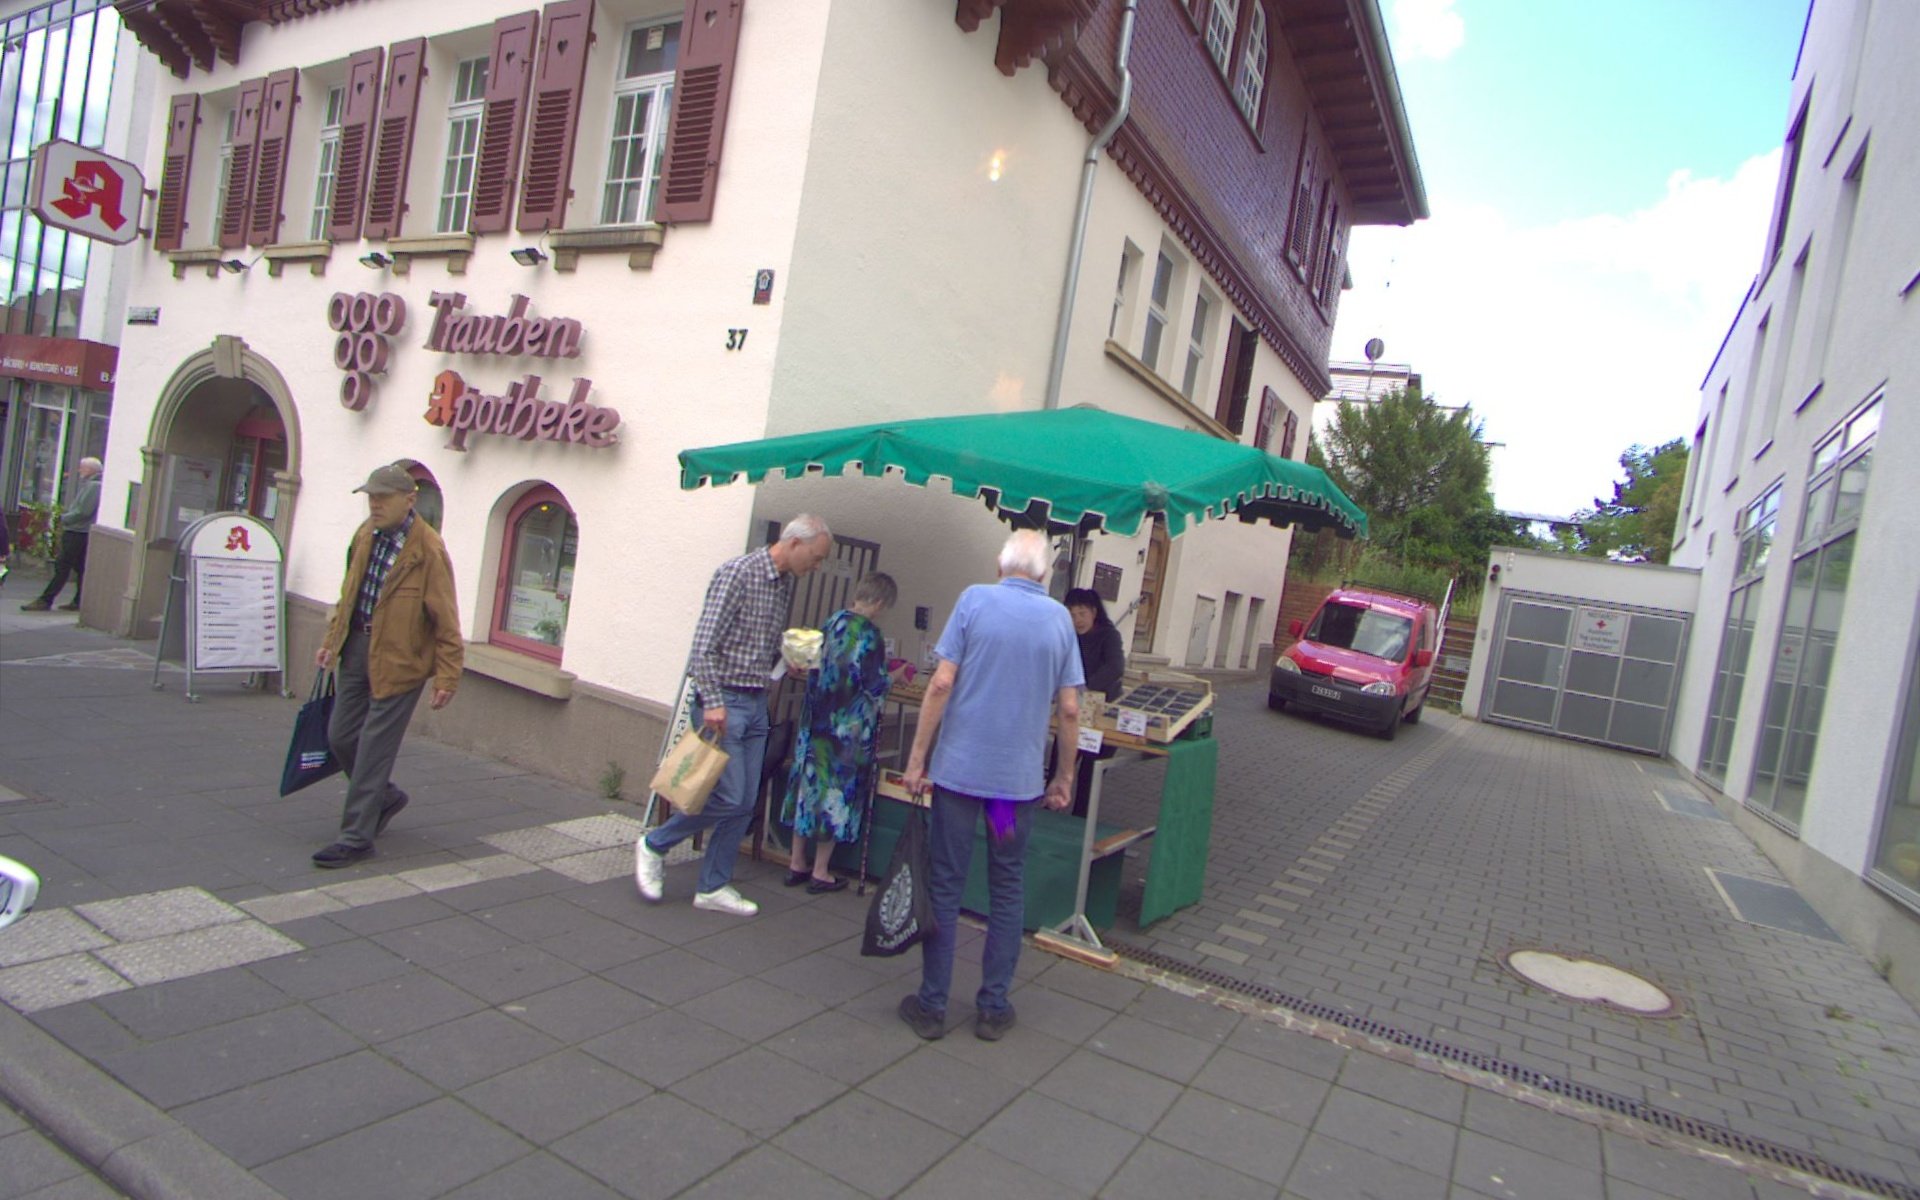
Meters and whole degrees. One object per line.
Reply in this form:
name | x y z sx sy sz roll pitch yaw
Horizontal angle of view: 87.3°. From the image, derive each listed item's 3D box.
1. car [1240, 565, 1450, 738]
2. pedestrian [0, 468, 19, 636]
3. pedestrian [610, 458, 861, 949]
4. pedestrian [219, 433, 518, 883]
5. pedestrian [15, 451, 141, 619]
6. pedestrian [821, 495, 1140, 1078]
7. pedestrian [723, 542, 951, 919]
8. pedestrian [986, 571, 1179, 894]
car | 5.506 0.726 14.039 1.842 1.863 4.154 8 0 31
pedestrian | -9.316 -0.481 9.314 0.795 1.552 0.723 7 3 37
pedestrian | -0.966 0.429 4.293 0.769 1.880 0.700 6 1 -17
pedestrian | -2.675 0.239 4.597 0.774 1.824 0.676 7 1 18
pedestrian | -10.187 -0.741 11.627 0.804 1.791 0.775 7 1 32
pedestrian | 0.060 0.590 3.513 0.696 1.788 0.620 6 1 -34
pedestrian | -0.591 0.589 4.876 0.692 1.633 0.623 7 1 36
pedestrian | 0.695 0.707 5.670 0.692 1.633 0.623 7 1 36
